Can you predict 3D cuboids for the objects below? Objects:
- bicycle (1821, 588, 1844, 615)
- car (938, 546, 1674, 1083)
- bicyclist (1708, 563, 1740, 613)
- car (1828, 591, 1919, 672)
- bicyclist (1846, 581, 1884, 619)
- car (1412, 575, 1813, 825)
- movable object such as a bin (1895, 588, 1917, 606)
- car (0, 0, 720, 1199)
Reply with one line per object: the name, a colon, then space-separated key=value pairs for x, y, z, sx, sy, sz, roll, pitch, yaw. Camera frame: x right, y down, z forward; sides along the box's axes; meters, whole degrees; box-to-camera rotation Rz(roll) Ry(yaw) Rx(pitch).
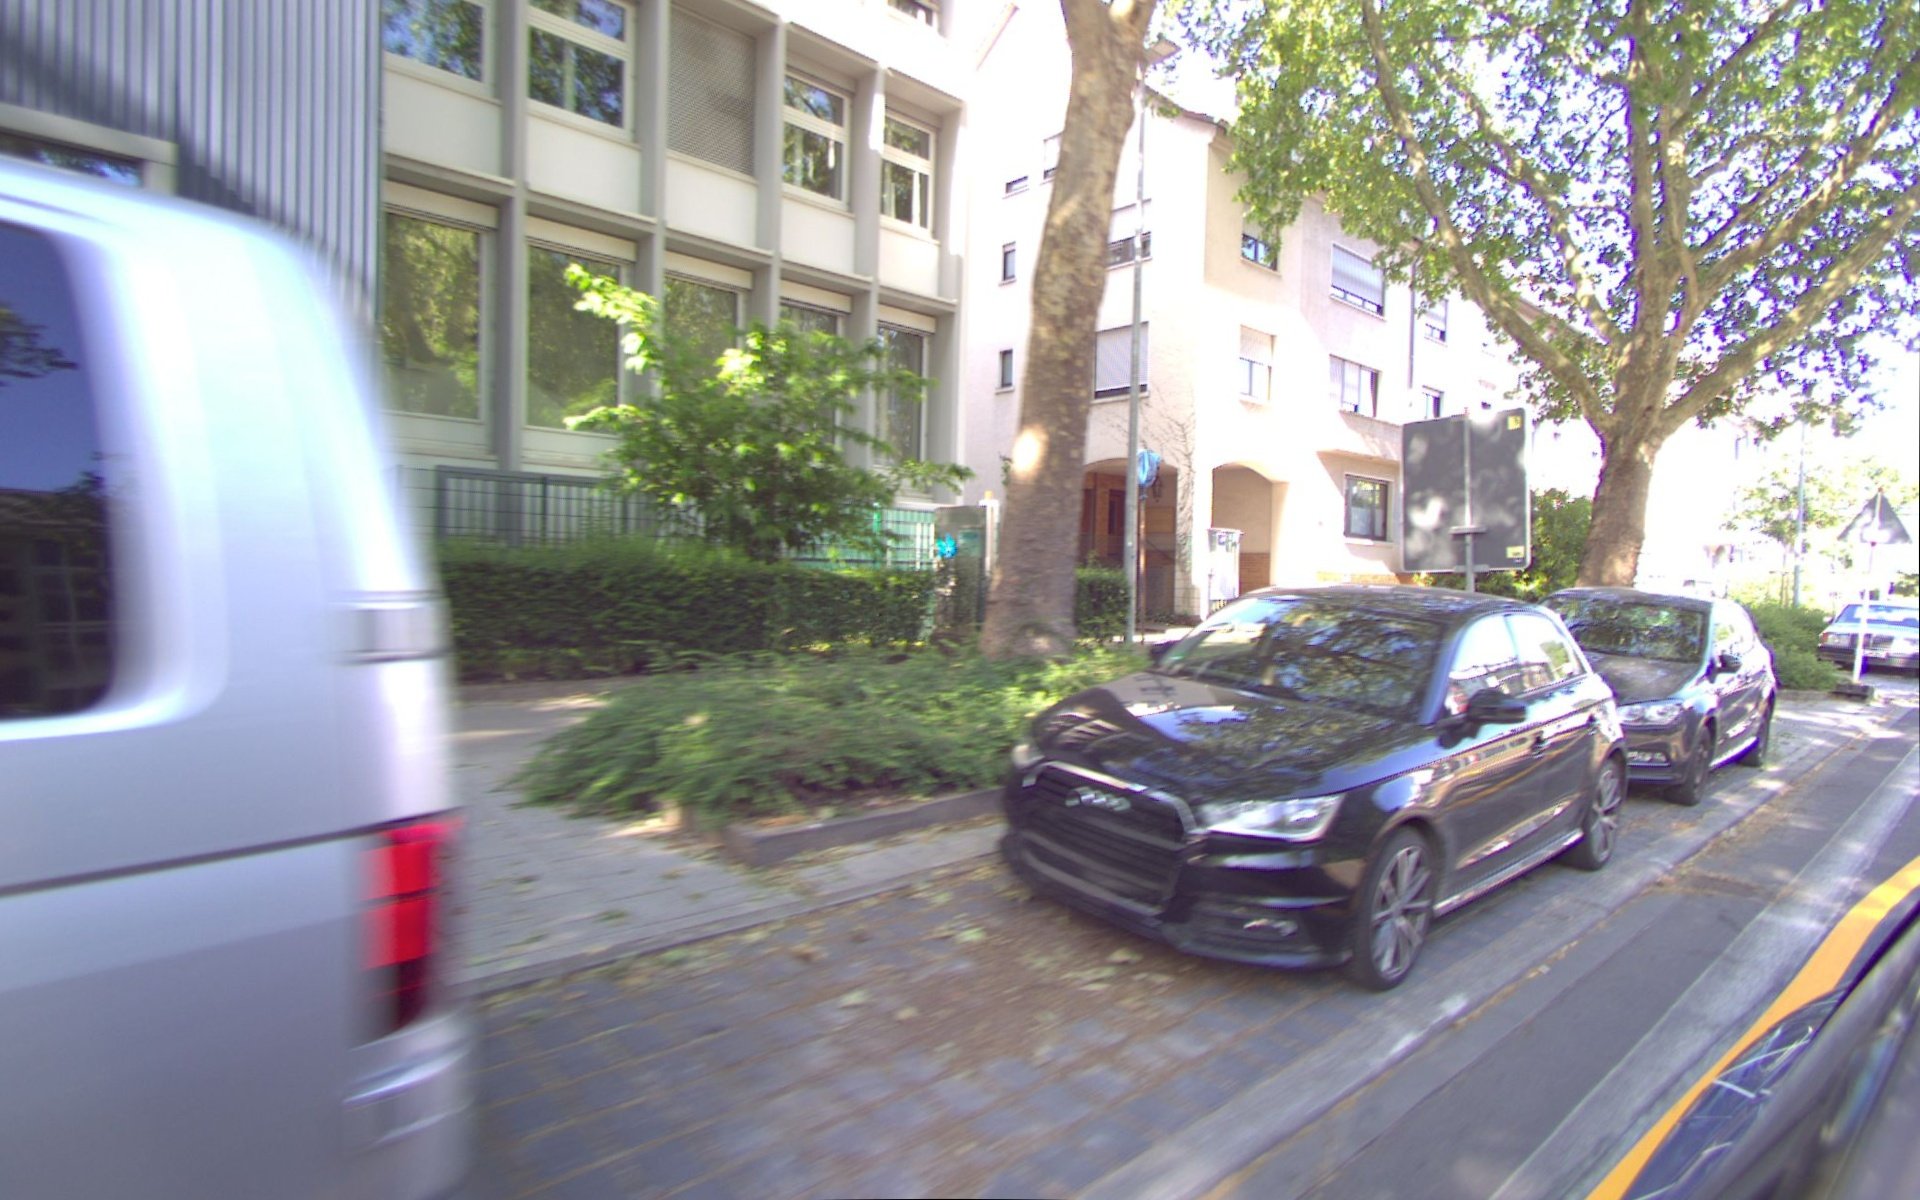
bicycle: x=48.217 y=0.074 z=55.912 sx=2.449 sy=1.462 sz=0.708 roll=1 pitch=-1 yaw=-44
car: x=1.958 y=0.598 z=4.927 sx=4.058 sy=1.559 sz=1.660 roll=0 pitch=1 yaw=-42
bicyclist: x=28.554 y=-0.446 z=37.804 sx=1.052 sy=1.843 sz=0.725 roll=0 pitch=1 yaw=-41
car: x=19.524 y=0.584 z=20.992 sx=4.860 sy=1.498 sz=1.854 roll=0 pitch=1 yaw=-44
bicyclist: x=36.508 y=-0.017 z=40.822 sx=0.853 sy=1.518 sz=0.727 roll=0 pitch=2 yaw=-9
car: x=5.511 y=0.590 z=8.314 sx=4.178 sy=1.527 sz=1.766 roll=0 pitch=1 yaw=-43
movable object such as a bin: x=82.075 y=-0.266 z=87.783 sx=0.964 sy=1.415 sz=1.277 roll=4 pitch=2 yaw=25
car: x=-2.960 y=0.328 z=0.568 sx=5.184 sy=1.971 sz=2.028 roll=0 pitch=2 yaw=-43
